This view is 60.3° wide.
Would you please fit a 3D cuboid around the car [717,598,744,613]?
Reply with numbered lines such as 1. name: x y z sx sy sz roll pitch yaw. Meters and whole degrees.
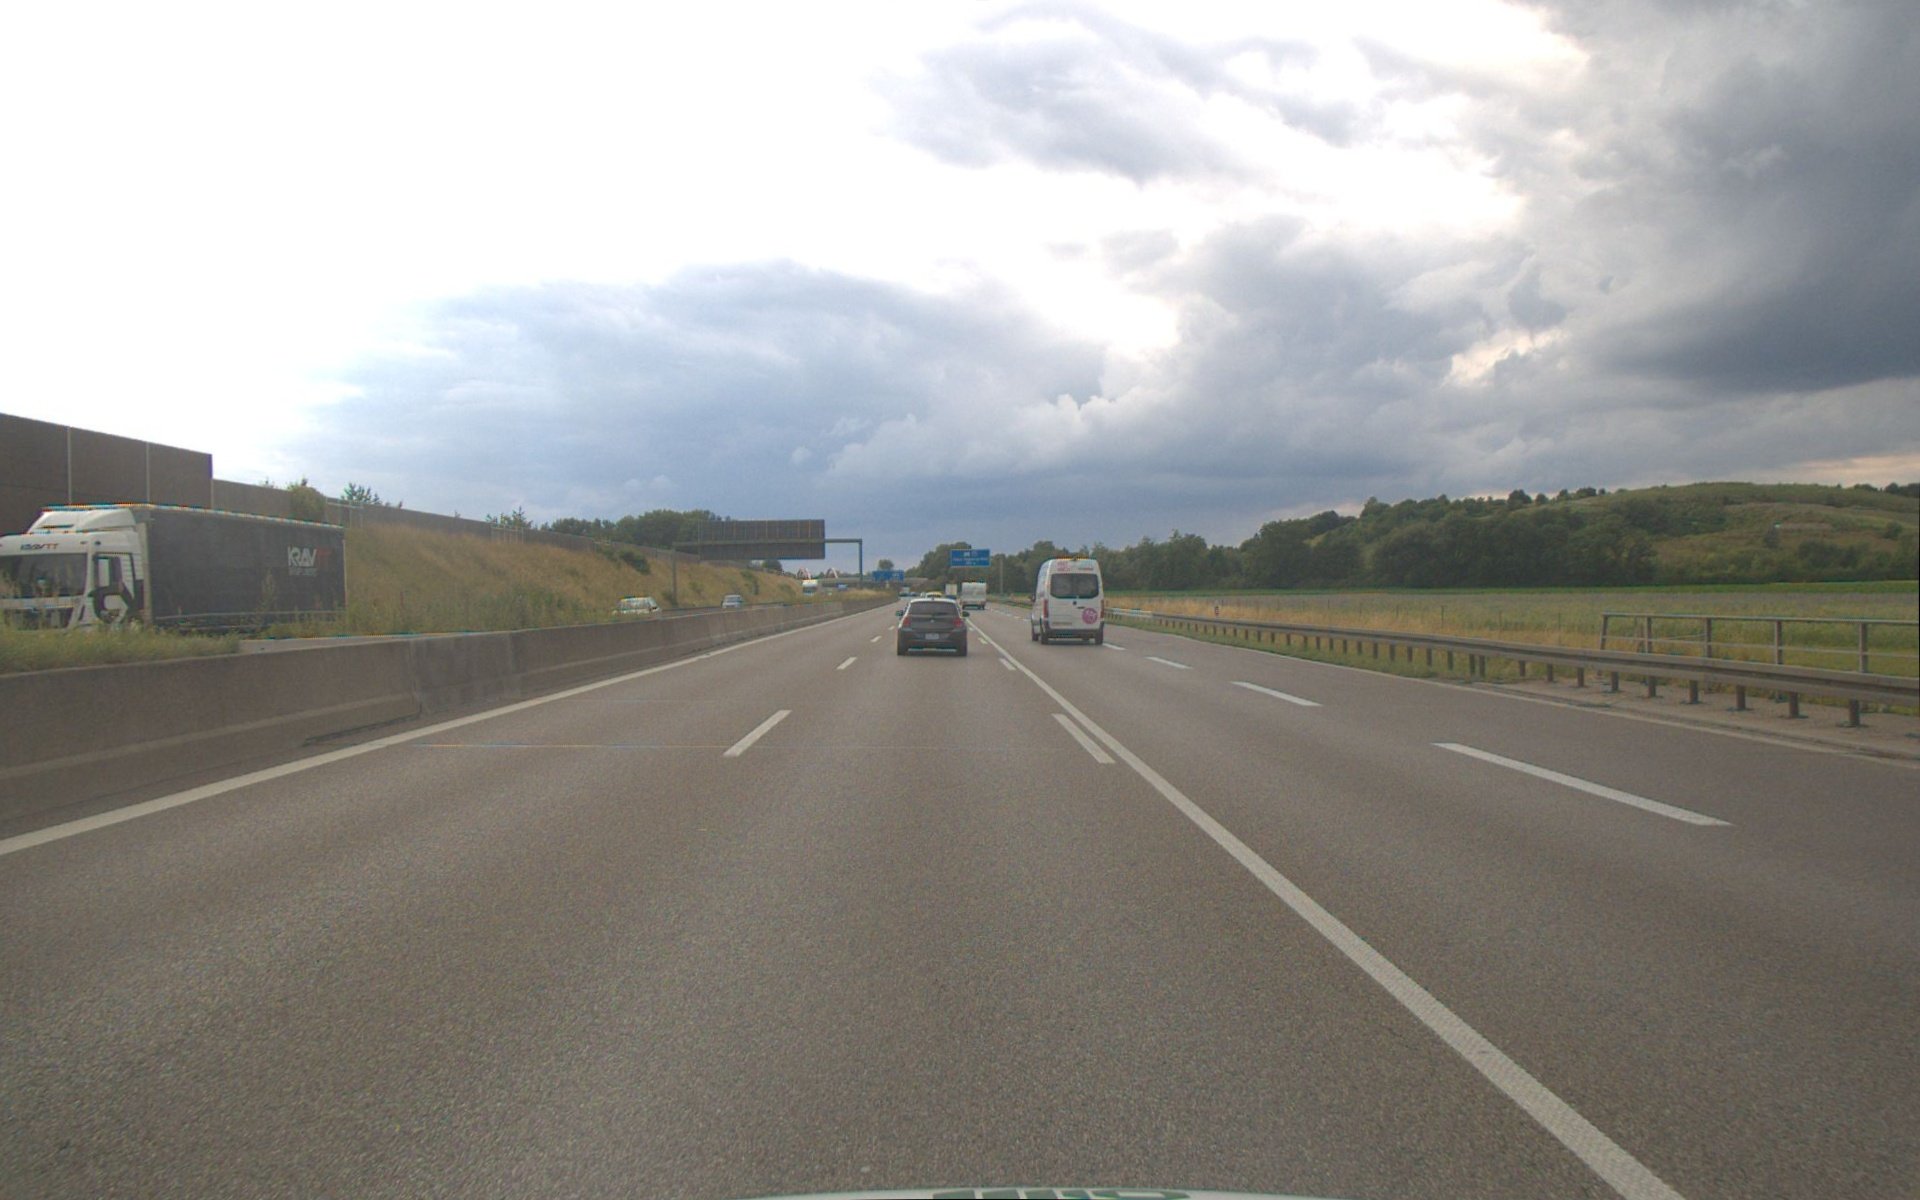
1. car: -22.058 0.501 159.215 1.953 1.388 4.939 1 0 -1

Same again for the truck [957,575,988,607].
1. truck: 1.194 -0.892 162.594 2.655 3.016 12.444 1 0 -1

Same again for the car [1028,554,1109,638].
1. car: 3.479 -0.151 54.259 2.176 2.612 6.255 0 0 -1

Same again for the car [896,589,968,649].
1. car: -0.703 0.455 41.947 1.708 1.413 3.999 1 1 -1

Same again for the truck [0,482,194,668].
1. truck: -21.259 -0.579 38.974 3.593 4.017 6.012 1 0 -1

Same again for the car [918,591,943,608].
1. car: -2.336 -0.028 131.752 1.953 1.321 3.999 -1 0 -1

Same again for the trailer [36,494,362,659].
1. trailer: -21.343 -0.630 47.749 3.597 4.050 12.677 1 0 -1

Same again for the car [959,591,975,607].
1. car: 0.953 -0.093 218.094 1.953 2.049 3.999 0 0 -1
